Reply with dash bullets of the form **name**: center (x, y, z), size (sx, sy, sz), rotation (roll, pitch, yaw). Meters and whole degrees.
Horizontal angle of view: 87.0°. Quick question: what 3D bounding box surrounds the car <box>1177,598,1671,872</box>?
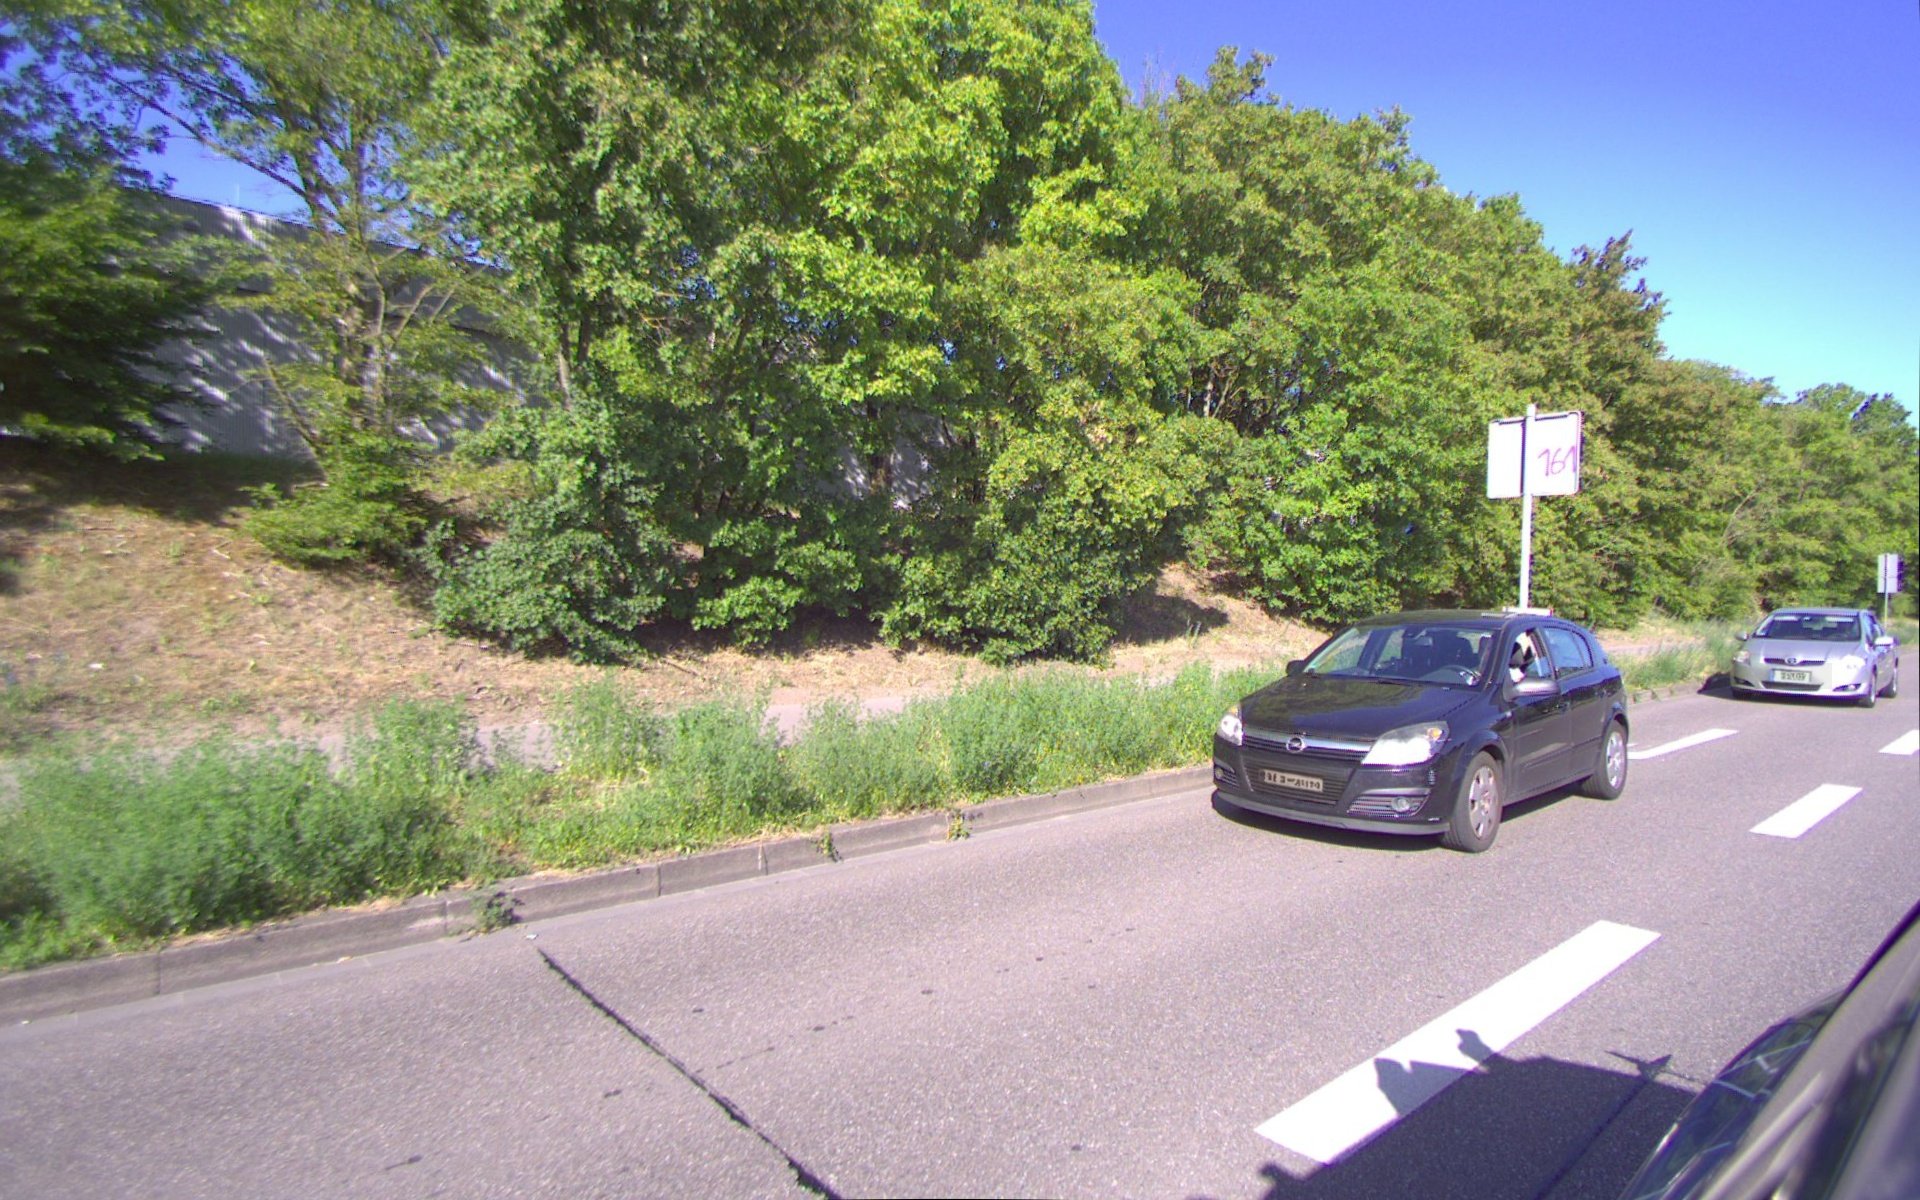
- **car**: center (3.636, 0.726, 7.541), size (4.295, 1.460, 1.737), rotation (0, 0, -41)

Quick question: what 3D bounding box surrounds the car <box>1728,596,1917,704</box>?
- **car**: center (14.262, 0.732, 16.669), size (4.036, 1.556, 1.786), rotation (0, 0, -41)
